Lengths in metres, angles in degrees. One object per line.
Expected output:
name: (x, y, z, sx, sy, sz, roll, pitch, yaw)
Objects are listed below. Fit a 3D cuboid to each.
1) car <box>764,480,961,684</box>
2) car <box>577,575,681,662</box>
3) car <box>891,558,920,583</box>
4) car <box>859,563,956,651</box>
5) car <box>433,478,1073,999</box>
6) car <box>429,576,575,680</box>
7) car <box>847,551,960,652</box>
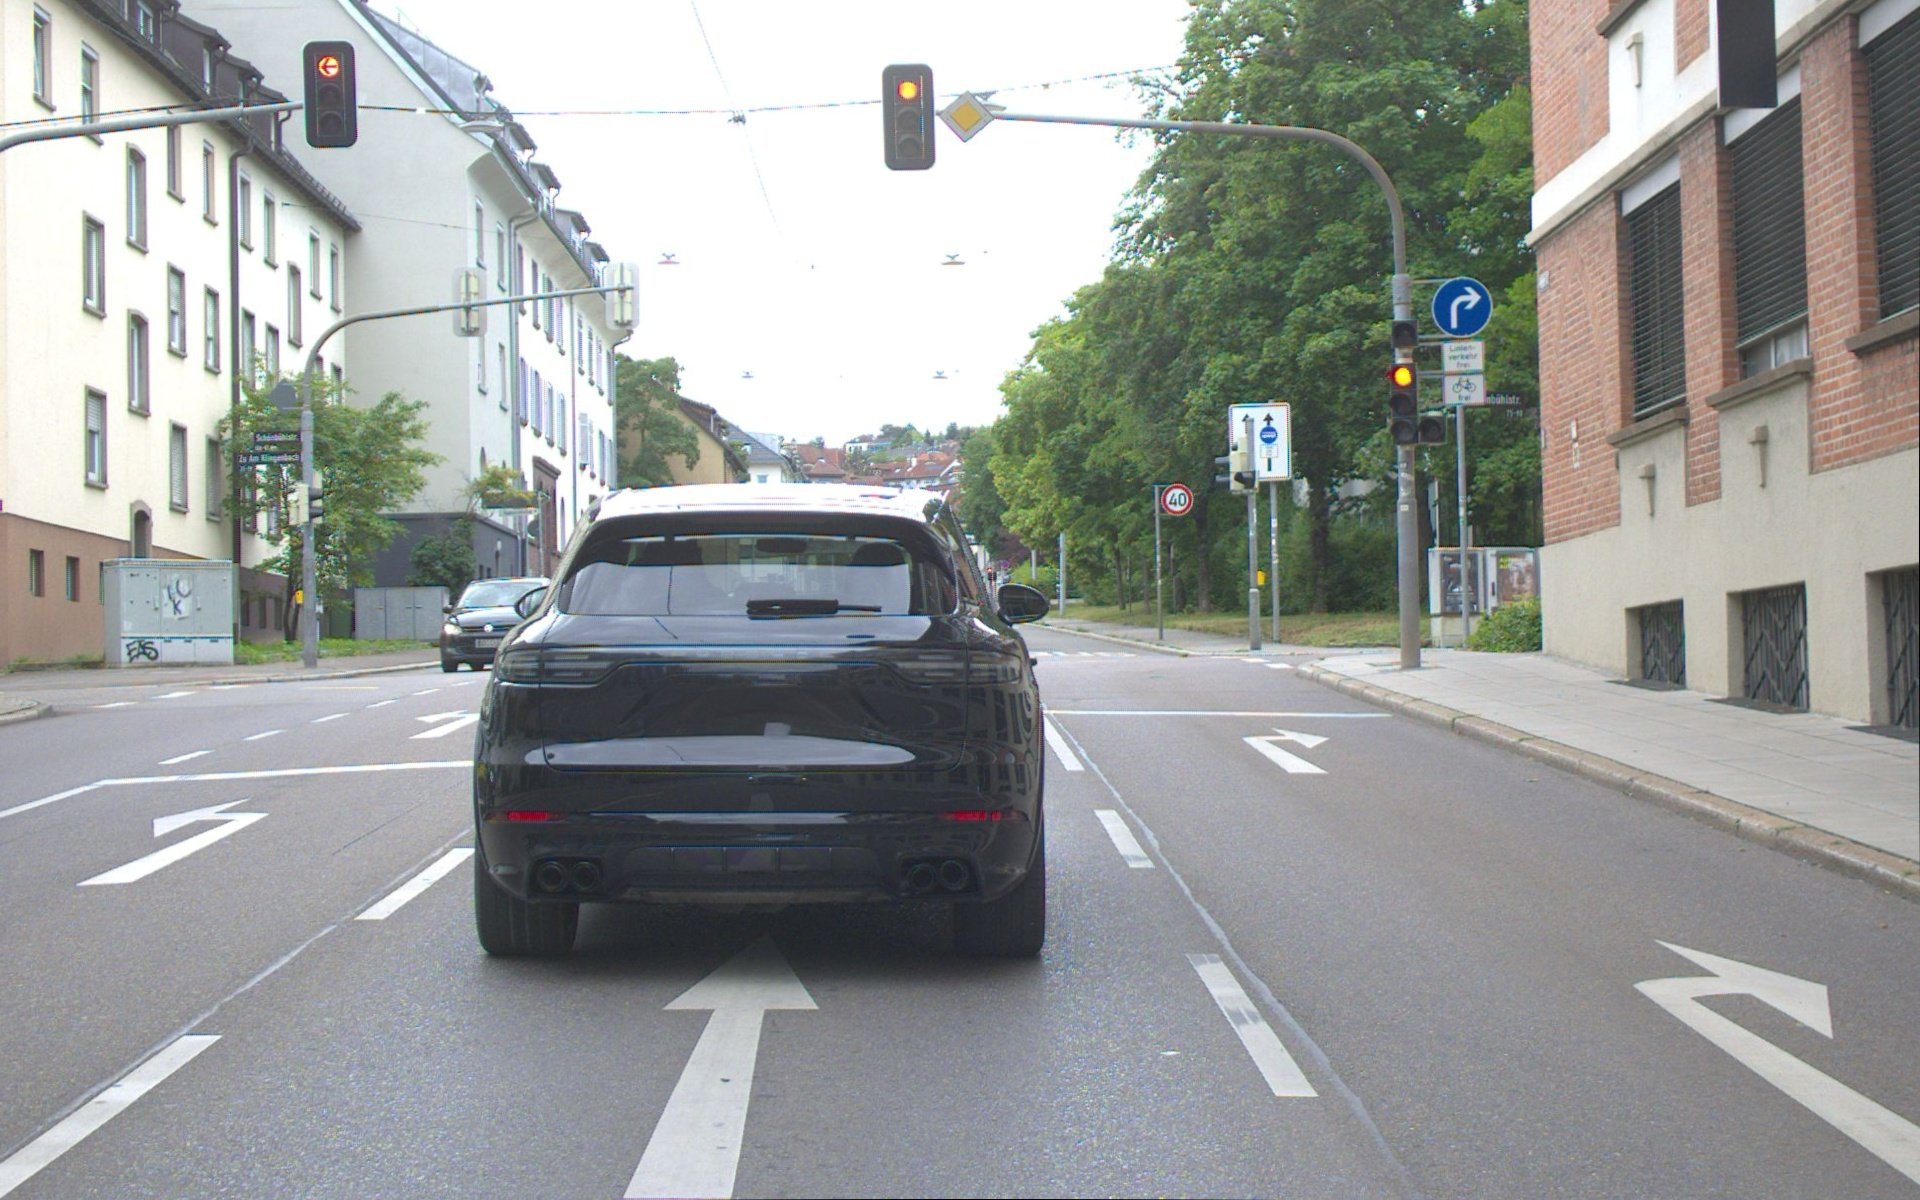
car: (-0.989, -0.228, 36.712, 1.965, 2.035, 4.135, 1, 1, 0)
car: (-6.772, 0.363, 70.605, 1.703, 1.581, 3.937, -3, 1, 0)
car: (-3.577, -1.928, 225.093, 1.827, 1.599, 4.135, 1, 1, 0)
car: (-1.003, 0.116, 67.358, 1.827, 1.599, 3.859, 1, 1, 0)
car: (-0.676, 0.401, 13.228, 2.048, 1.660, 4.267, 1, 1, 0)
car: (-7.019, 0.405, 52.972, 1.673, 1.395, 3.795, -3, 1, 0)
car: (-0.932, -0.005, 58.479, 1.827, 1.599, 4.135, 1, 1, 0)
